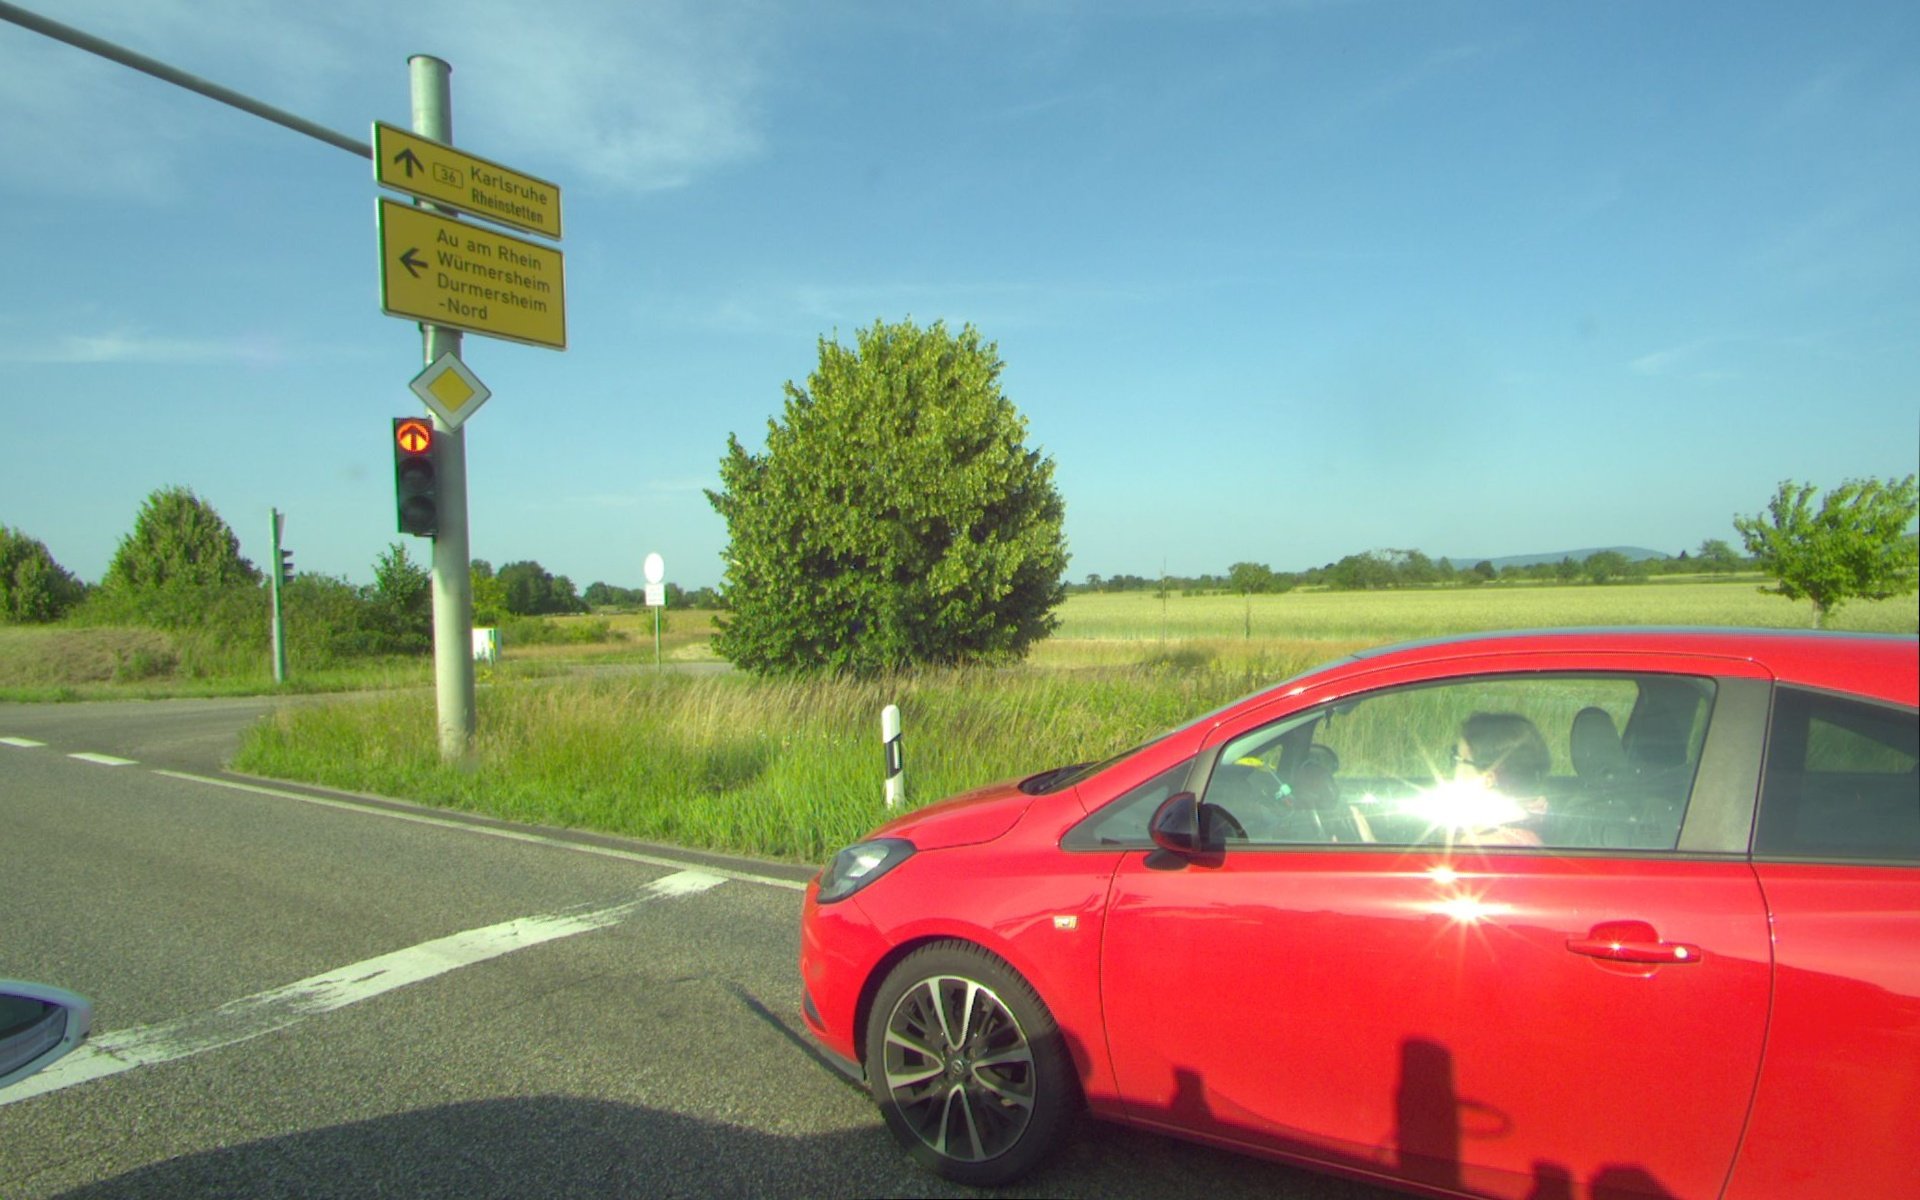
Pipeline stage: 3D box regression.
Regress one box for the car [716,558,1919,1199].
[{"bbox_3d":[1.293,0.732,2.841,3.693,1.569,1.695,-1,0,29],"label":"car"}]
